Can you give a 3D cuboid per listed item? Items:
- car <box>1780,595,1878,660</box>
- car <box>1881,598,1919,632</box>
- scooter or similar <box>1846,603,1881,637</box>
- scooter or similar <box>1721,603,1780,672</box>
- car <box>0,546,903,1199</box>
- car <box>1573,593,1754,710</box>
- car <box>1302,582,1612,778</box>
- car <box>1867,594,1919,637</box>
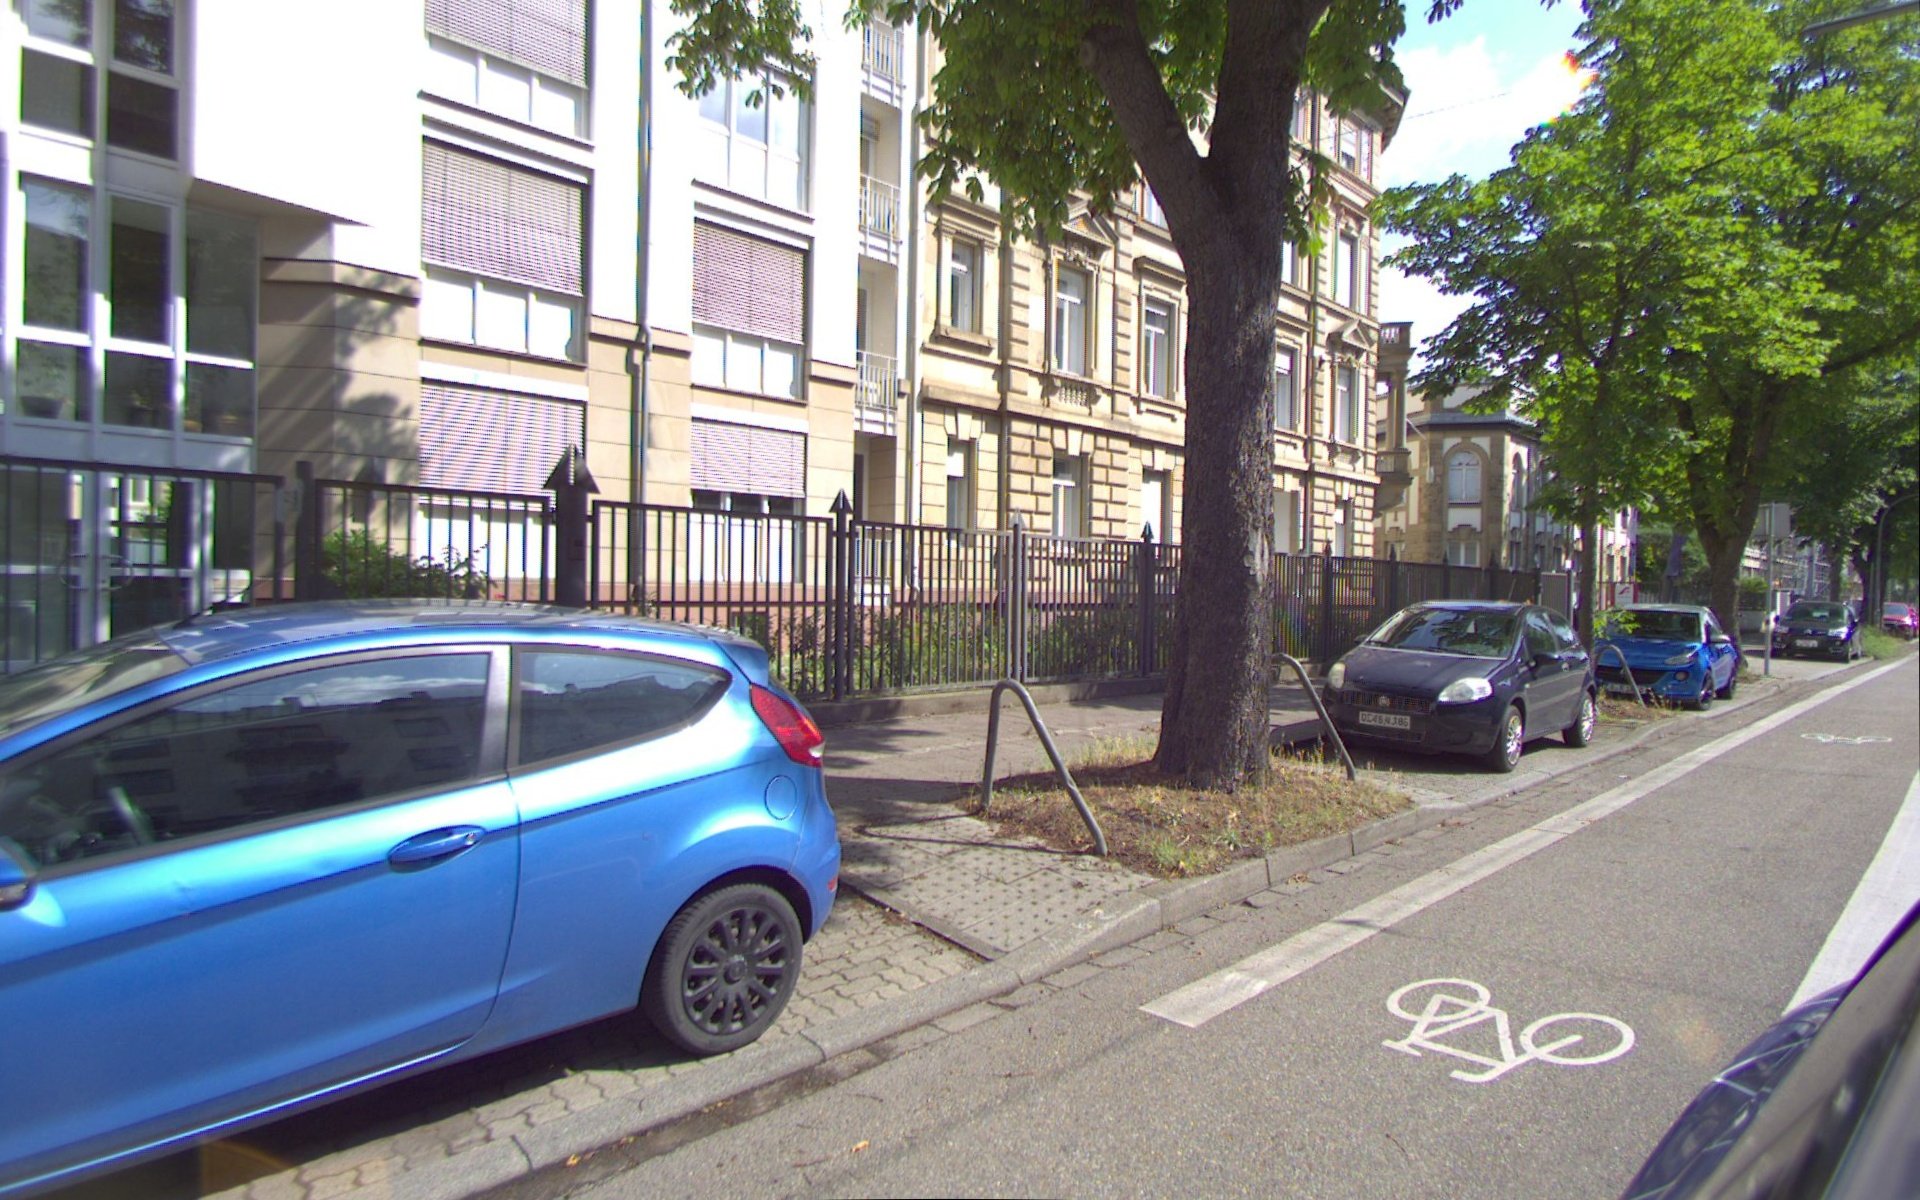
[{"bbox_3d":[24.405,0.707,28.362,4.134,1.610,1.698,0,3,-45],"label":"car"},{"bbox_3d":[45.878,0.702,49.140,1.600,1.445,3.542,6,4,42],"label":"car"},{"bbox_3d":[34.458,0.770,38.596,1.233,1.252,0.343,2,3,-19],"label":"scooter or similar"},{"bbox_3d":[15.937,0.738,20.435,0.436,1.315,1.176,4,1,16],"label":"scooter or similar"},{"bbox_3d":[-2.160,0.630,3.070,3.783,1.514,1.626,0,3,-44],"label":"car"},{"bbox_3d":[10.889,0.693,15.571,1.641,1.514,3.568,4,2,45],"label":"car"},{"bbox_3d":[5.037,0.636,10.040,1.641,1.514,3.697,4,2,44],"label":"car"},{"bbox_3d":[40.702,0.663,43.851,1.877,1.697,4.213,4,3,44],"label":"car"}]
